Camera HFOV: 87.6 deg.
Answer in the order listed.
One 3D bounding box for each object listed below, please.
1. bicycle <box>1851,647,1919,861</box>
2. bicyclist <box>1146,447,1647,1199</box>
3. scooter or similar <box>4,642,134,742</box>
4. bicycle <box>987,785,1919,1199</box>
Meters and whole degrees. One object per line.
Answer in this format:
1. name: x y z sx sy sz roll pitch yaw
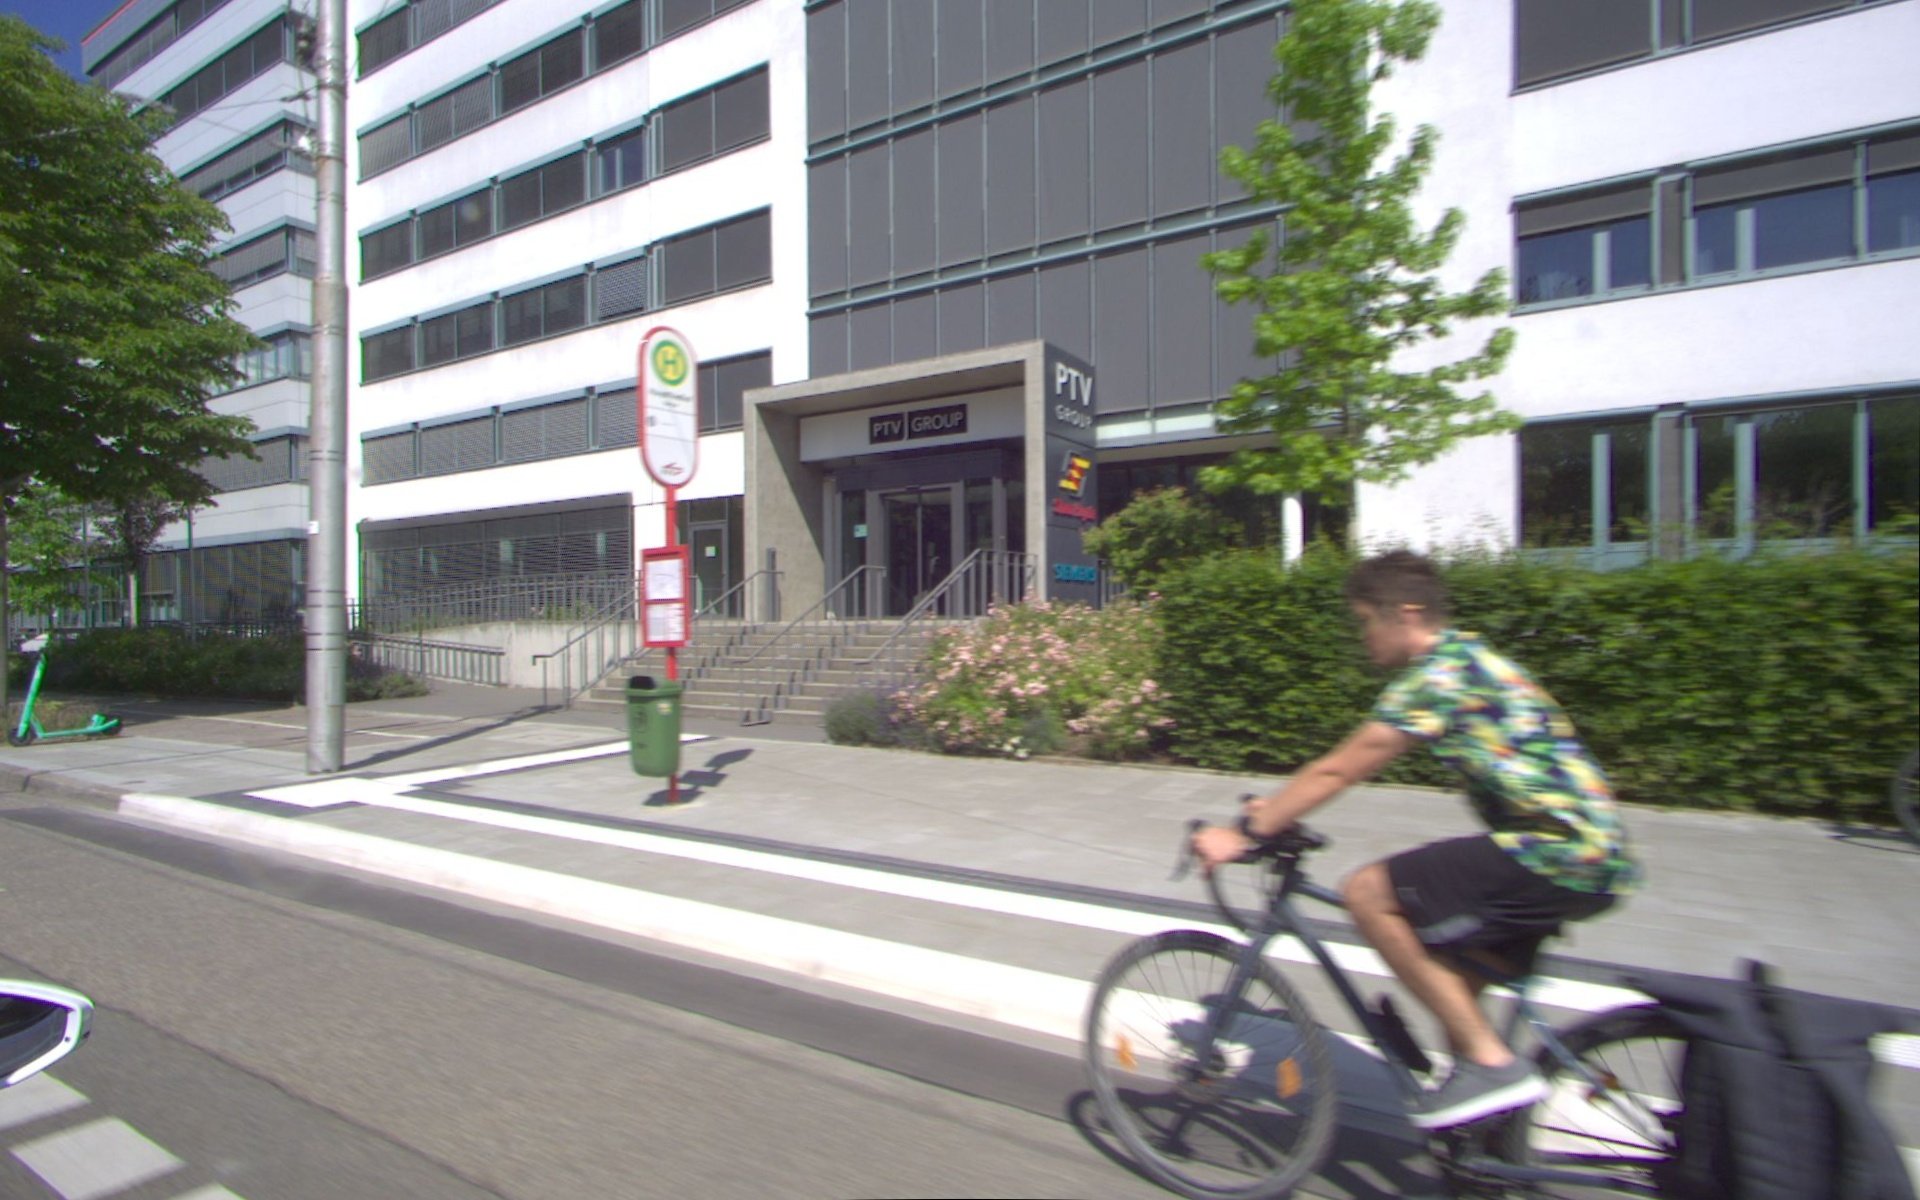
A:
1. bicycle: 6.042 0.829 5.187 2.037 1.132 0.635 -1 -1 32
2. bicyclist: 1.037 0.606 2.386 0.974 1.746 0.714 0 0 34
3. scooter or similar: -11.442 1.156 12.876 0.666 1.182 1.123 0 0 34
4. bicycle: 1.132 1.064 2.316 2.133 0.996 0.607 0 -1 32
